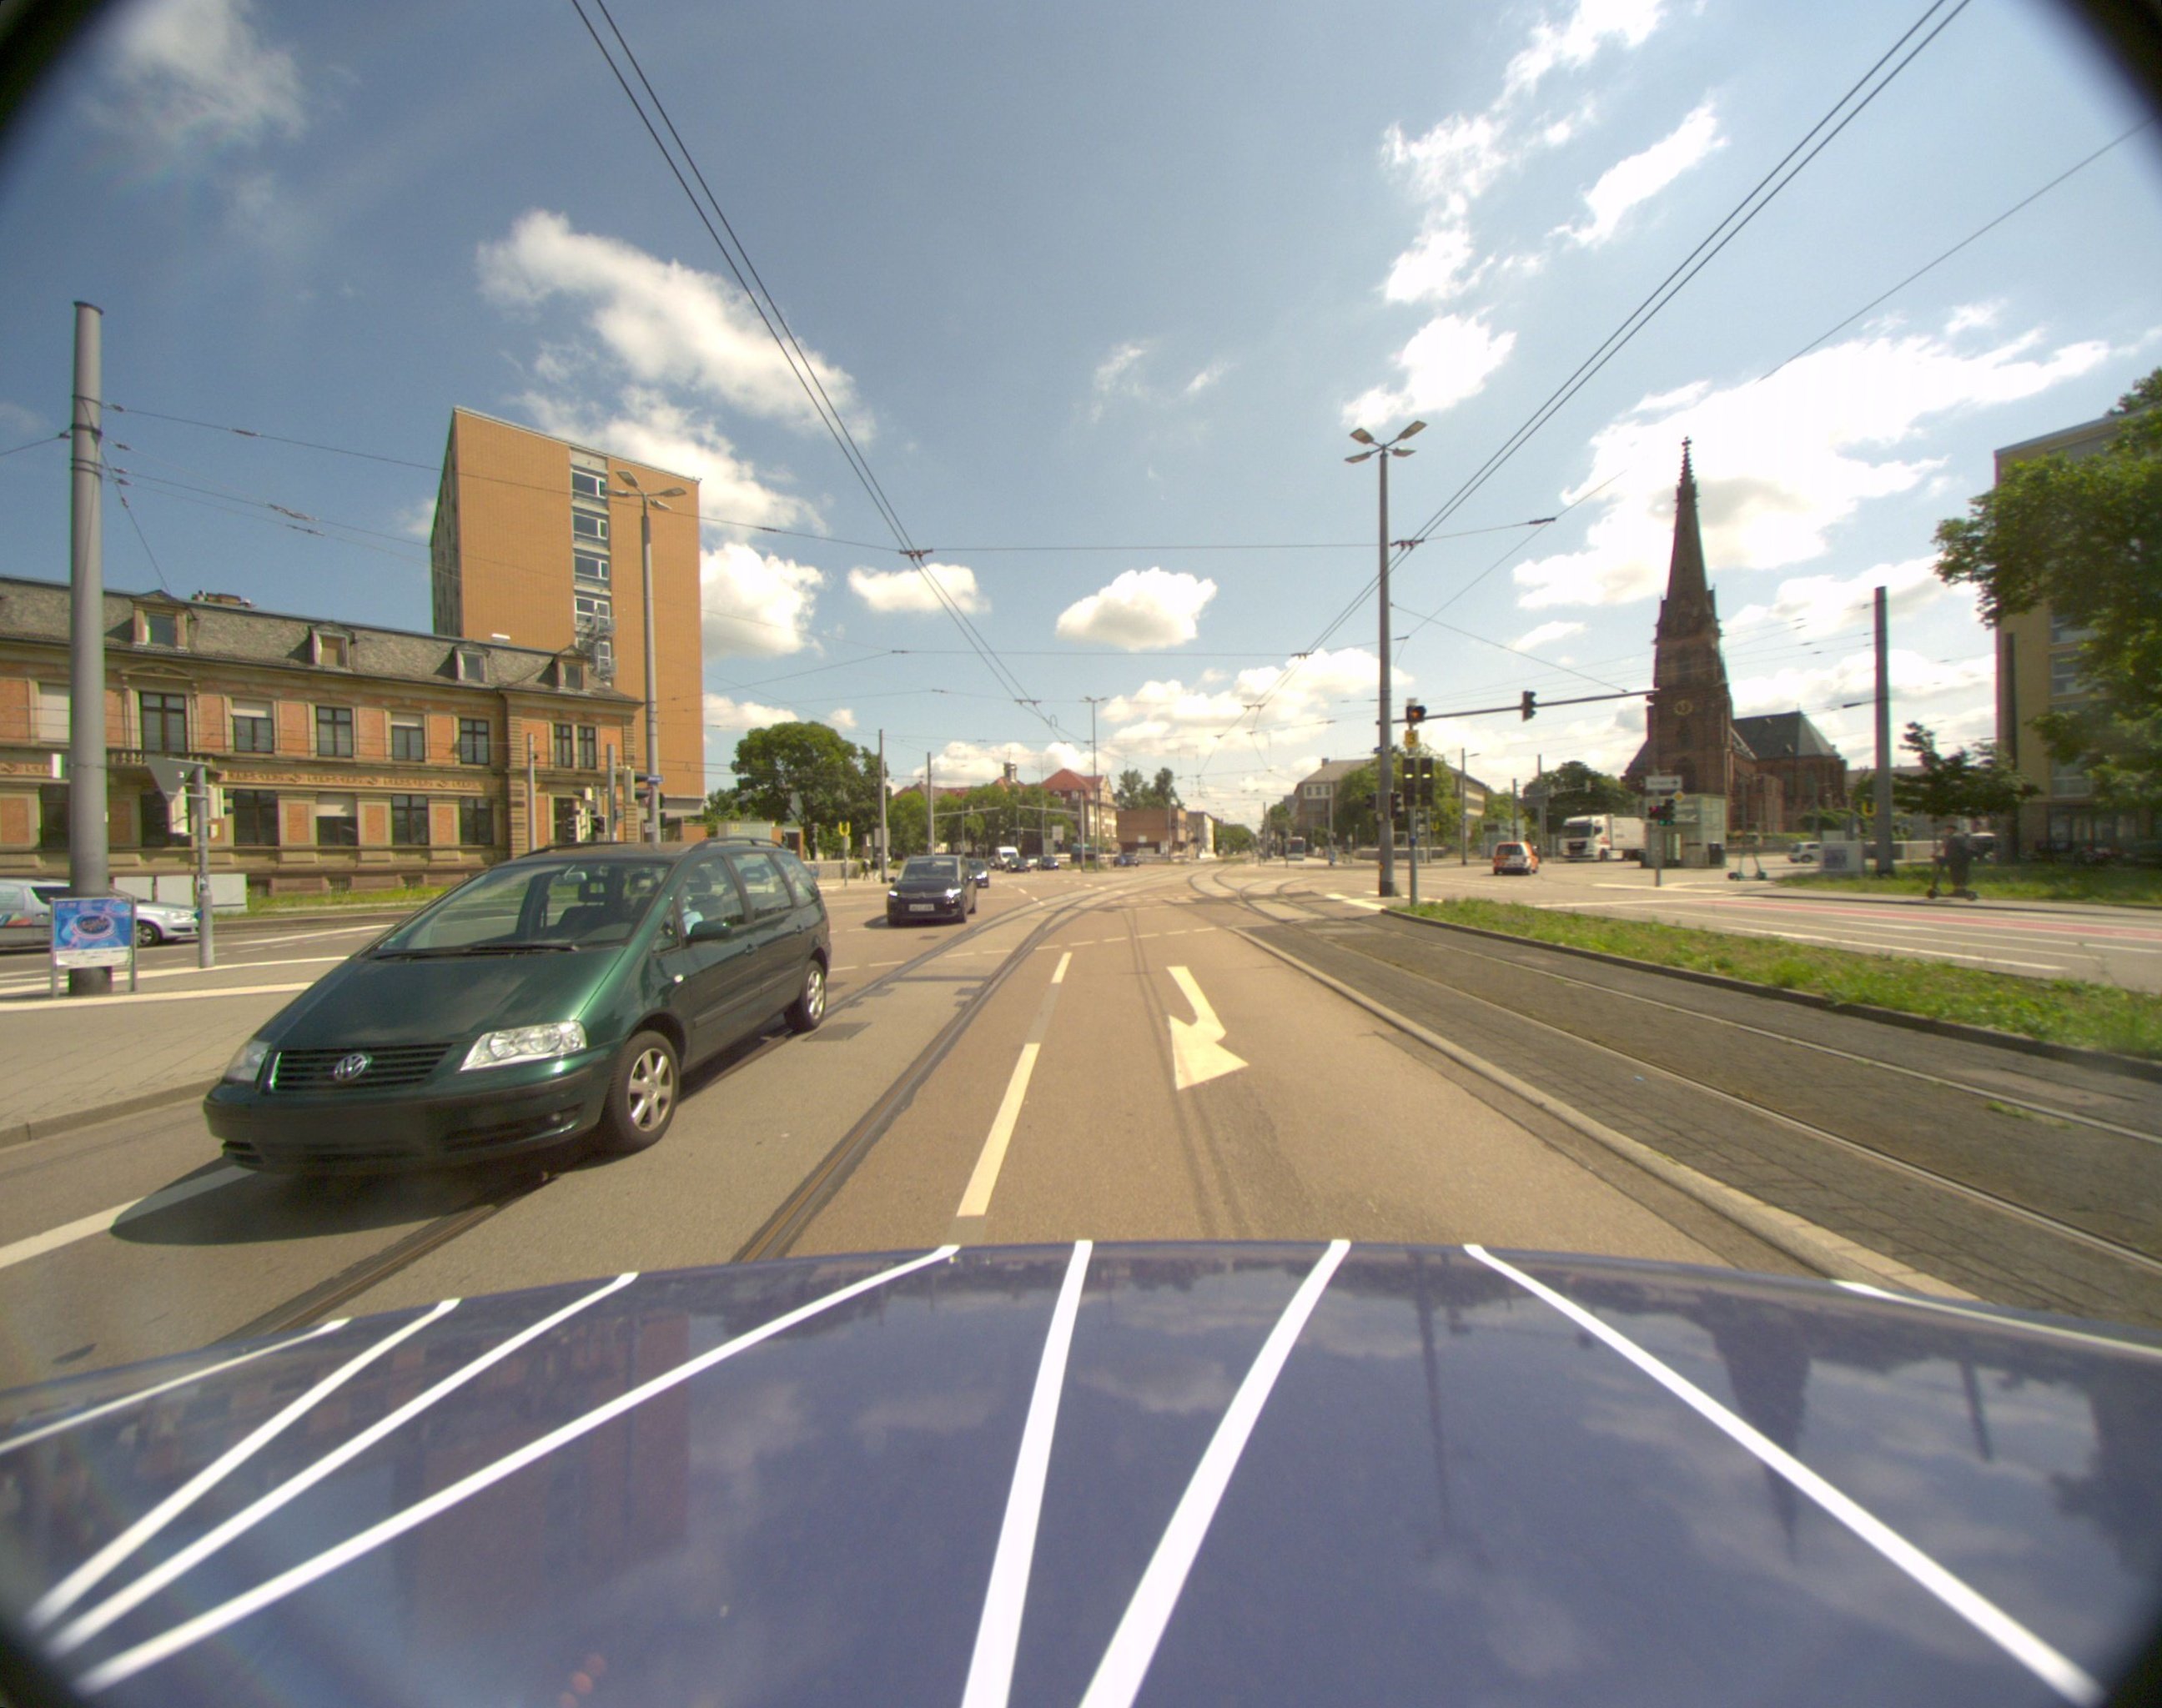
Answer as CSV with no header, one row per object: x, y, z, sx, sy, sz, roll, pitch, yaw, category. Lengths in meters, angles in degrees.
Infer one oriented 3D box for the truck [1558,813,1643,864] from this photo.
43.086,-1.282,63.002,6.888,4.095,2.957,-1,1,-28,truck

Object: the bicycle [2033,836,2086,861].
49.850,-0.279,38.723,0.494,1.257,1.599,-2,0,-29,bicycle

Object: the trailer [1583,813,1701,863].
49.121,-1.418,66.310,13.438,4.053,2.942,-1,1,-29,trailer

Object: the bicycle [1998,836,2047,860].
51.199,-0.326,41.315,0.494,1.257,1.599,-2,0,-29,bicycle

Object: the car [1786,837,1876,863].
51.980,-0.261,52.739,4.163,1.633,1.632,-1,0,20,car

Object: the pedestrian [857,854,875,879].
-15.699,0.912,55.571,1.029,1.802,0.726,-2,1,-39,pedestrian

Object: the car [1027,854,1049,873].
-4.765,0.996,83.440,1.816,2.002,3.996,-1,0,-11,car

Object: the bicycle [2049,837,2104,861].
49.346,-0.238,37.668,0.494,1.161,1.599,-2,0,-29,bicycle

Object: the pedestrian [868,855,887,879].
-14.776,0.958,55.155,1.029,1.710,0.726,-2,1,-39,pedestrian

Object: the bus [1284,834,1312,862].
27.423,-0.743,96.388,2.947,3.427,7.955,-1,0,13,bus

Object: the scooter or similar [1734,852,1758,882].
26.084,0.506,29.796,0.462,1.193,0.549,-1,0,1,scooter or similar

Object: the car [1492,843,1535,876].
23.829,0.268,41.943,1.766,1.755,4.249,-1,0,26,car

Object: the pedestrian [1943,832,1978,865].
42.876,-0.261,37.041,0.724,1.551,0.878,-1,0,-21,pedestrian

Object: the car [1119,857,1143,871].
5.501,1.099,84.582,1.815,1.551,4.105,0,-1,-9,car

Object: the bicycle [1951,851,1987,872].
50.371,0.441,43.108,0.460,1.139,1.271,-1,0,-33,bicycle

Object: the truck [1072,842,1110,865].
1.268,-0.073,105.674,3.357,2.981,8.724,-1,0,-12,truck

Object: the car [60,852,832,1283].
-3.305,0.885,5.214,1.819,1.707,4.084,-3,0,-1,car

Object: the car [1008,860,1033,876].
-5.869,1.306,73.275,1.902,1.455,4.257,-1,0,-10,car

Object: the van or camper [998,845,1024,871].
-7.684,0.415,82.795,2.233,2.719,5.516,-1,0,-10,van or camper

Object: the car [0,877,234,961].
-21.972,1.388,16.509,4.435,1.578,1.869,-1,0,-36,car

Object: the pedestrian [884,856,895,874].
-17.520,1.024,69.439,0.830,1.576,0.767,-1,0,-9,pedestrian

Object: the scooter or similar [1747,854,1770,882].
26.681,0.547,29.929,0.416,1.118,0.557,-1,0,1,scooter or similar

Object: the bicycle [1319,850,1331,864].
36.880,0.473,114.805,1.246,2.002,3.487,-1,0,11,bicycle

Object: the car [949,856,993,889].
-5.445,0.870,37.994,1.873,1.477,4.424,-1,0,-5,car

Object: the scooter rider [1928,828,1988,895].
22.585,0.189,19.578,0.779,1.697,0.649,-1,1,2,scooter rider

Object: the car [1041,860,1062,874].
-2.971,1.303,75.909,1.672,1.368,3.913,-1,-1,-9,car

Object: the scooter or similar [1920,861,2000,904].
22.592,0.719,19.548,0.806,1.026,1.092,-1,0,2,scooter or similar

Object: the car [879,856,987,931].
-3.580,0.881,19.194,1.873,1.607,4.426,-1,0,-1,car

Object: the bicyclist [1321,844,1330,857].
36.844,-0.574,114.710,1.124,2.002,1.321,0,1,11,bicyclist

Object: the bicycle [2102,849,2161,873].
47.586,0.335,34.364,0.494,1.060,1.599,-2,0,-29,bicycle

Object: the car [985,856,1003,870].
-10.484,1.065,91.137,1.782,1.565,3.958,-1,-1,-12,car
